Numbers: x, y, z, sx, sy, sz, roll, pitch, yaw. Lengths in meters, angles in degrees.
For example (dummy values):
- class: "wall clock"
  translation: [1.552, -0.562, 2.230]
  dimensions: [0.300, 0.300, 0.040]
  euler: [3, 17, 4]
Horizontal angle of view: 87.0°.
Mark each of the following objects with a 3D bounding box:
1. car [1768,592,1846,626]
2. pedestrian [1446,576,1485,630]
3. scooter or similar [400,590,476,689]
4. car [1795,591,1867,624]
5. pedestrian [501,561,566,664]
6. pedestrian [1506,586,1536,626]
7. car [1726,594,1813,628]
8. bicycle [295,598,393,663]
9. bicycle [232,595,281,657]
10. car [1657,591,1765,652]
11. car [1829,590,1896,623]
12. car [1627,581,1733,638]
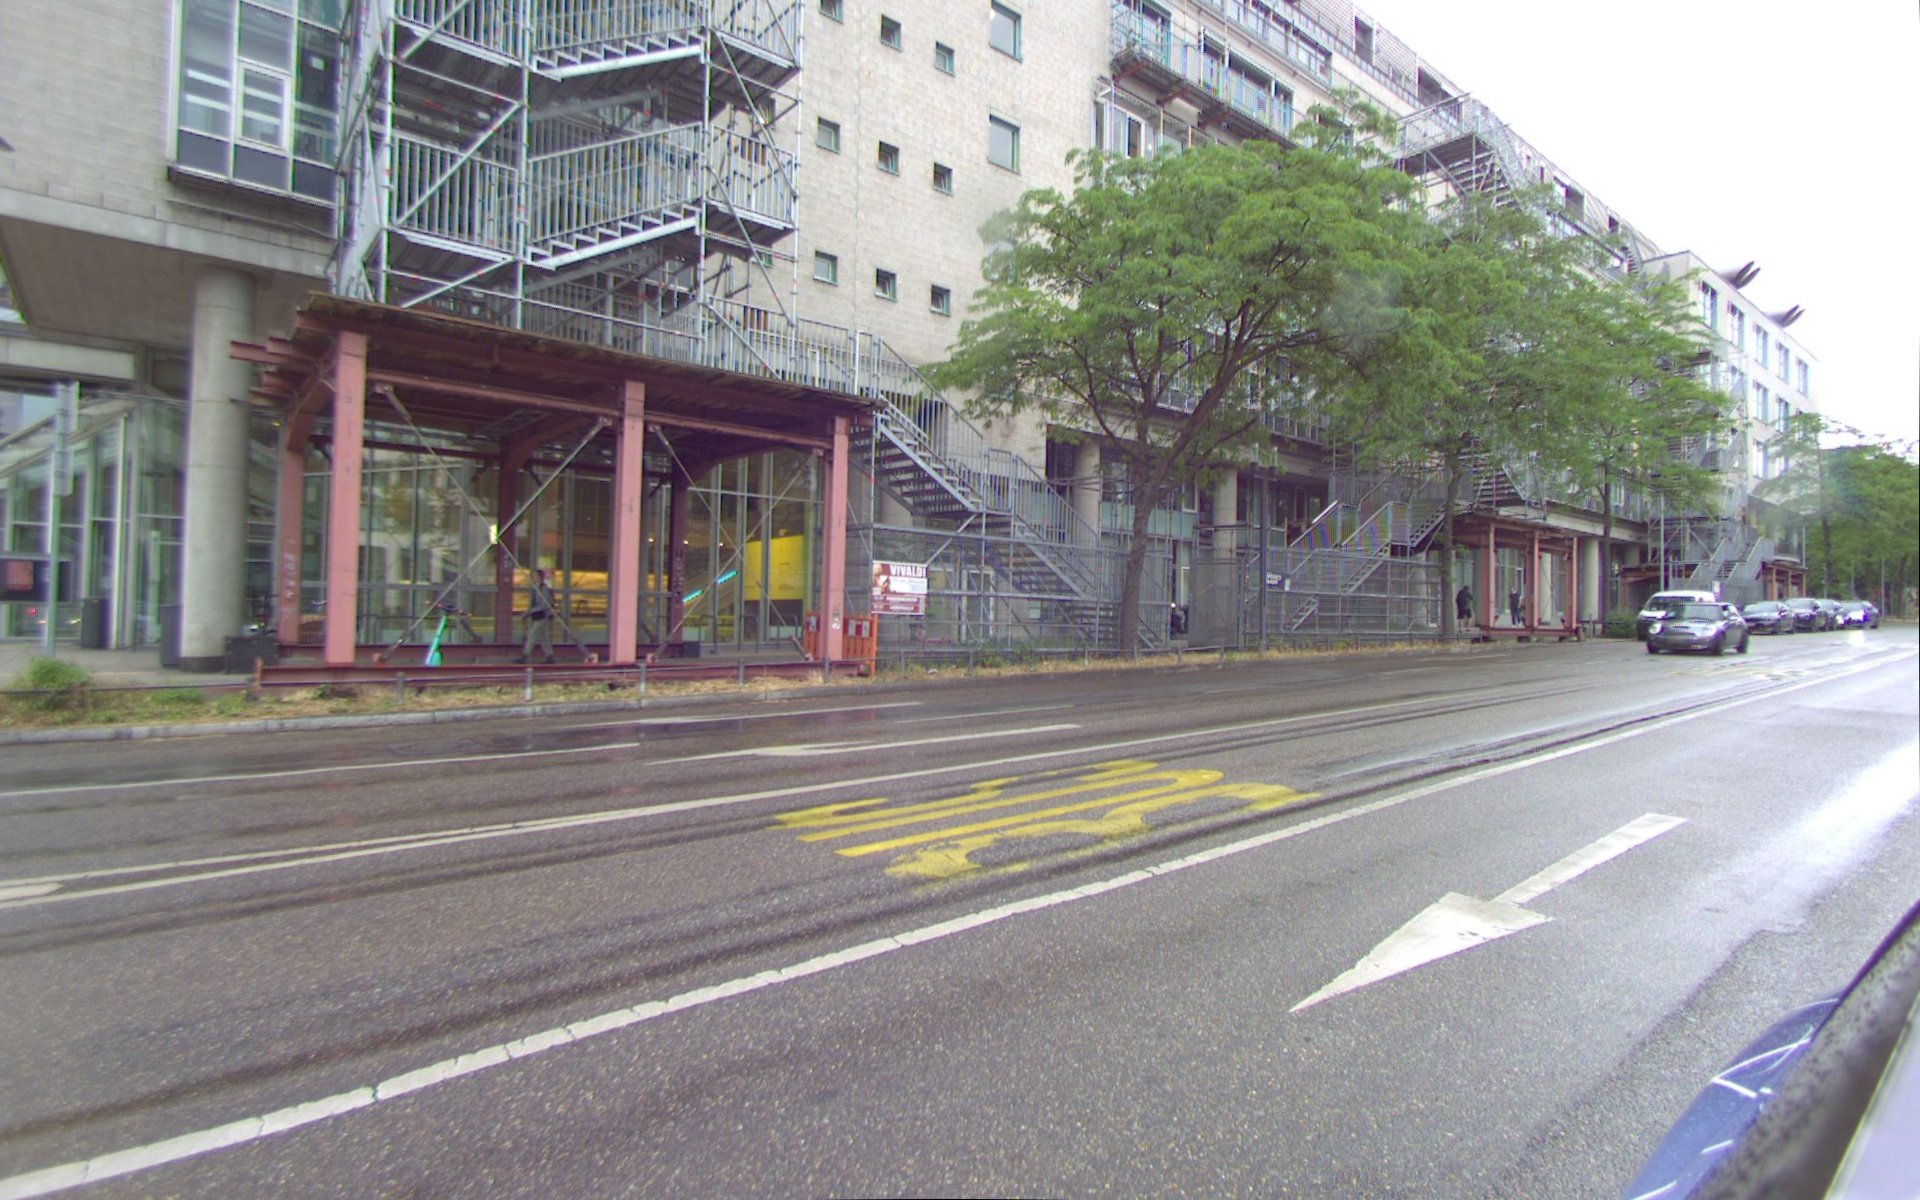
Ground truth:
- class: "car"
  translation: [40.248, 0.394, 48.061]
  dimensions: [4.733, 1.513, 2.145]
  euler: [-1, 1, -41]
- class: "pedestrian"
  translation: [19.439, 0.090, 38.909]
  dimensions: [1.021, 2.039, 1.009]
  euler: [0, 0, -41]
- class: "scooter or similar"
  translation: [-6.939, 0.484, 13.409]
  dimensions: [0.576, 1.209, 1.782]
  euler: [1, 0, -38]
- class: "car"
  translation: [44.360, 0.367, 51.523]
  dimensions: [4.733, 1.580, 2.145]
  euler: [-1, 1, -41]
- class: "pedestrian"
  translation: [-7.683, 0.208, 18.225]
  dimensions: [0.774, 1.798, 0.783]
  euler: [0, 0, 31]
- class: "pedestrian"
  translation: [26.140, 0.280, 47.164]
  dimensions: [0.832, 1.822, 1.008]
  euler: [0, 0, -44]
- class: "car"
  translation: [35.093, 0.452, 43.811]
  dimensions: [4.733, 1.353, 2.145]
  euler: [-1, 1, -41]
- class: "bicycle"
  translation: [-11.987, 0.570, 19.733]
  dimensions: [0.580, 1.209, 1.602]
  euler: [0, 0, 24]
- class: "bicycle"
  translation: [-14.378, 0.503, 20.675]
  dimensions: [0.577, 1.209, 1.611]
  euler: [0, 0, -44]
- class: "car"
  translation: [20.528, 0.611, 27.621]
  dimensions: [3.658, 1.474, 1.741]
  euler: [4, -2, -43]
- class: "car"
  translation: [48.933, 0.327, 54.848]
  dimensions: [4.733, 1.667, 2.145]
  euler: [-1, 0, -41]
- class: "car"
  translation: [26.067, 0.308, 36.583]
  dimensions: [4.254, 1.930, 2.211]
  euler: [-1, 0, -41]
